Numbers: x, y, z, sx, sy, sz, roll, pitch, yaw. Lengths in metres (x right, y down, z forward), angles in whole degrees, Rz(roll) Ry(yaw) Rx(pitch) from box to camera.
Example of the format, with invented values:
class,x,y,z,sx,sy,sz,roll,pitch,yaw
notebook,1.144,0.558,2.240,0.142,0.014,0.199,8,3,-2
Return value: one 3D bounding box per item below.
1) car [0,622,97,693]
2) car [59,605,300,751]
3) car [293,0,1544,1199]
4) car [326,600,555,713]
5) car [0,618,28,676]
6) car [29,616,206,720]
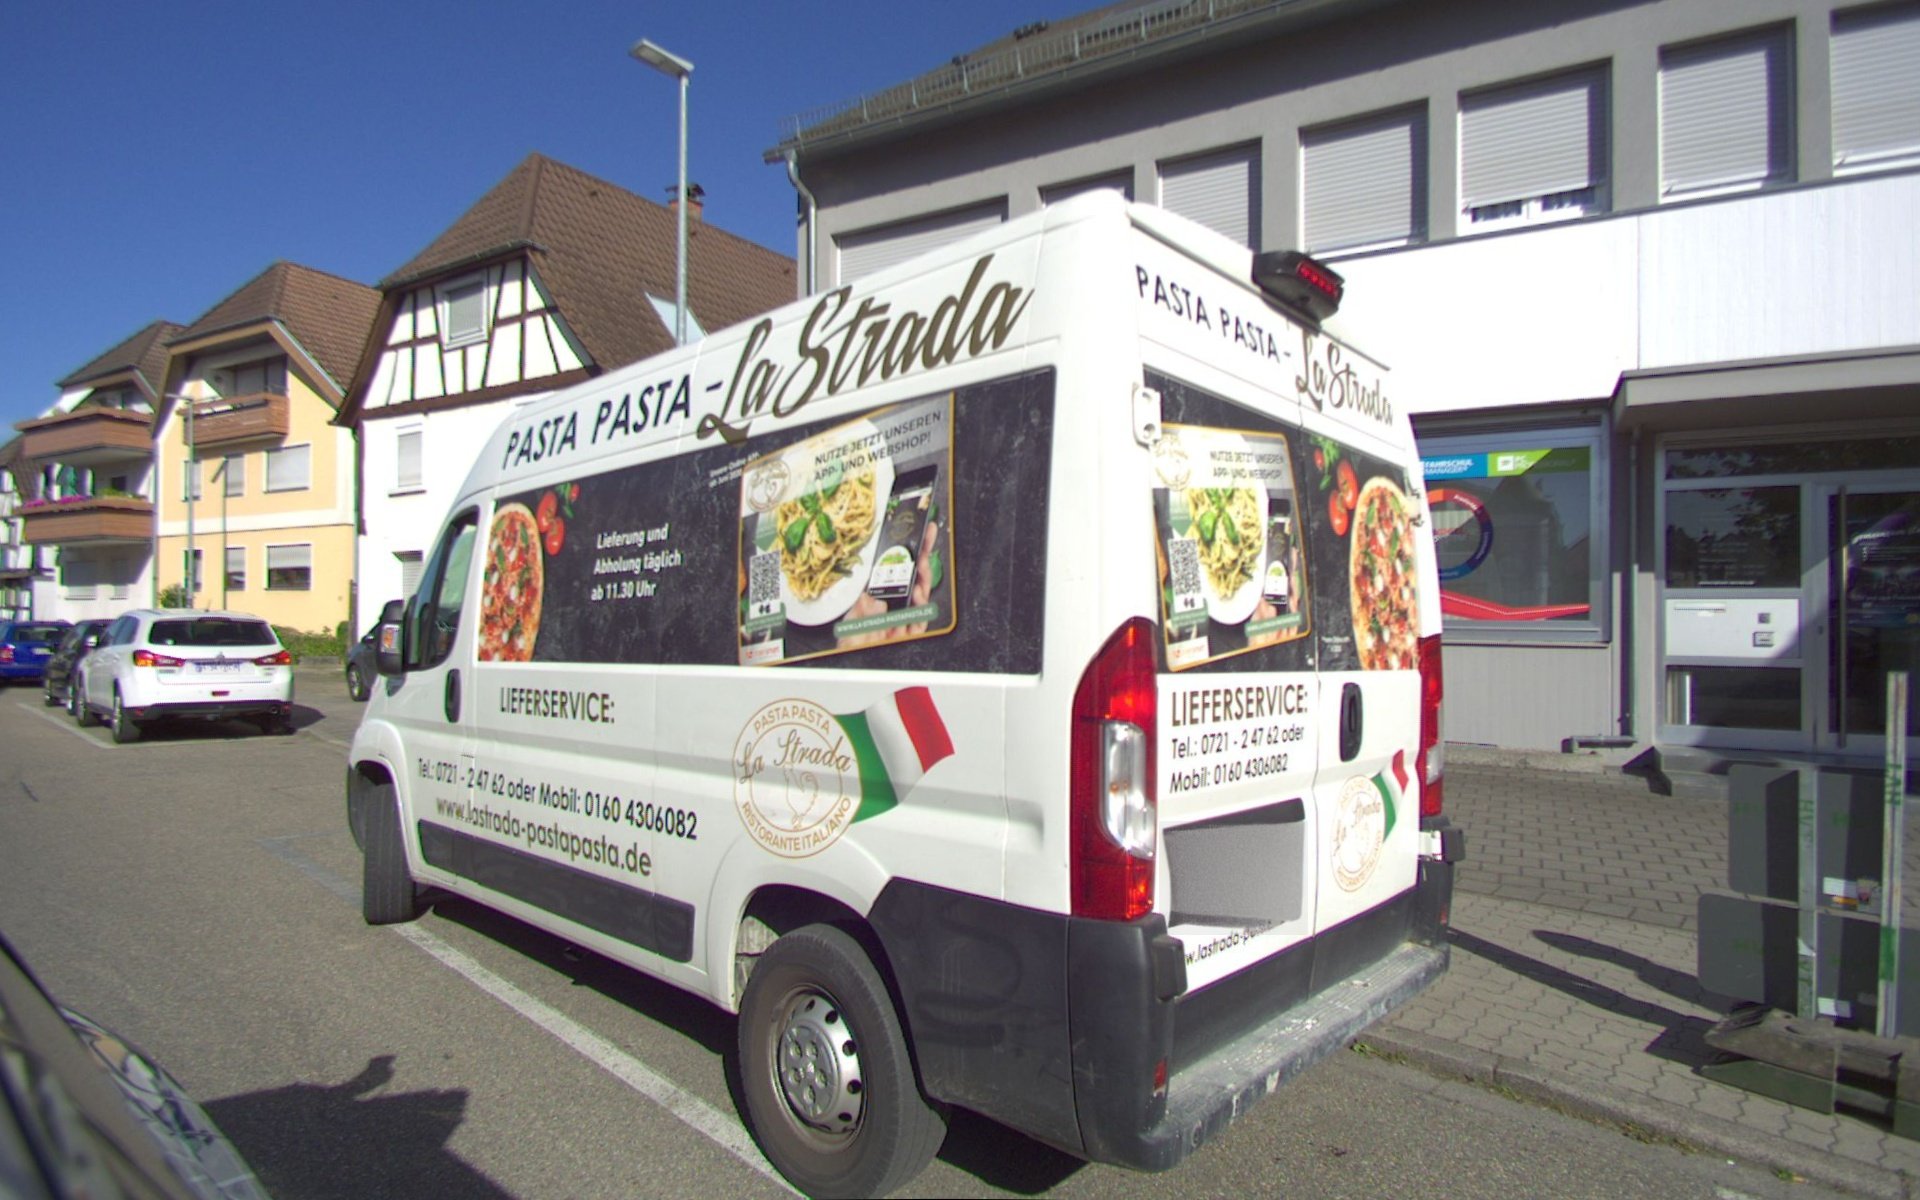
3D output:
class,x,y,z,sx,sy,sz,roll,pitch,yaw
car,-20.758,1.224,22.575,3.952,1.450,1.602,-1,-2,40
car,-10.340,0.916,13.302,4.109,1.631,1.704,-1,-2,41
car,-0.861,0.275,4.403,5.517,2.489,2.227,-1,-2,44
car,-8.374,0.834,16.193,4.104,1.599,1.627,-1,-1,37
car,-27.641,1.280,28.240,3.994,1.568,1.742,-1,-2,38
car,-13.909,1.036,16.646,3.682,1.519,1.638,-1,-2,41
